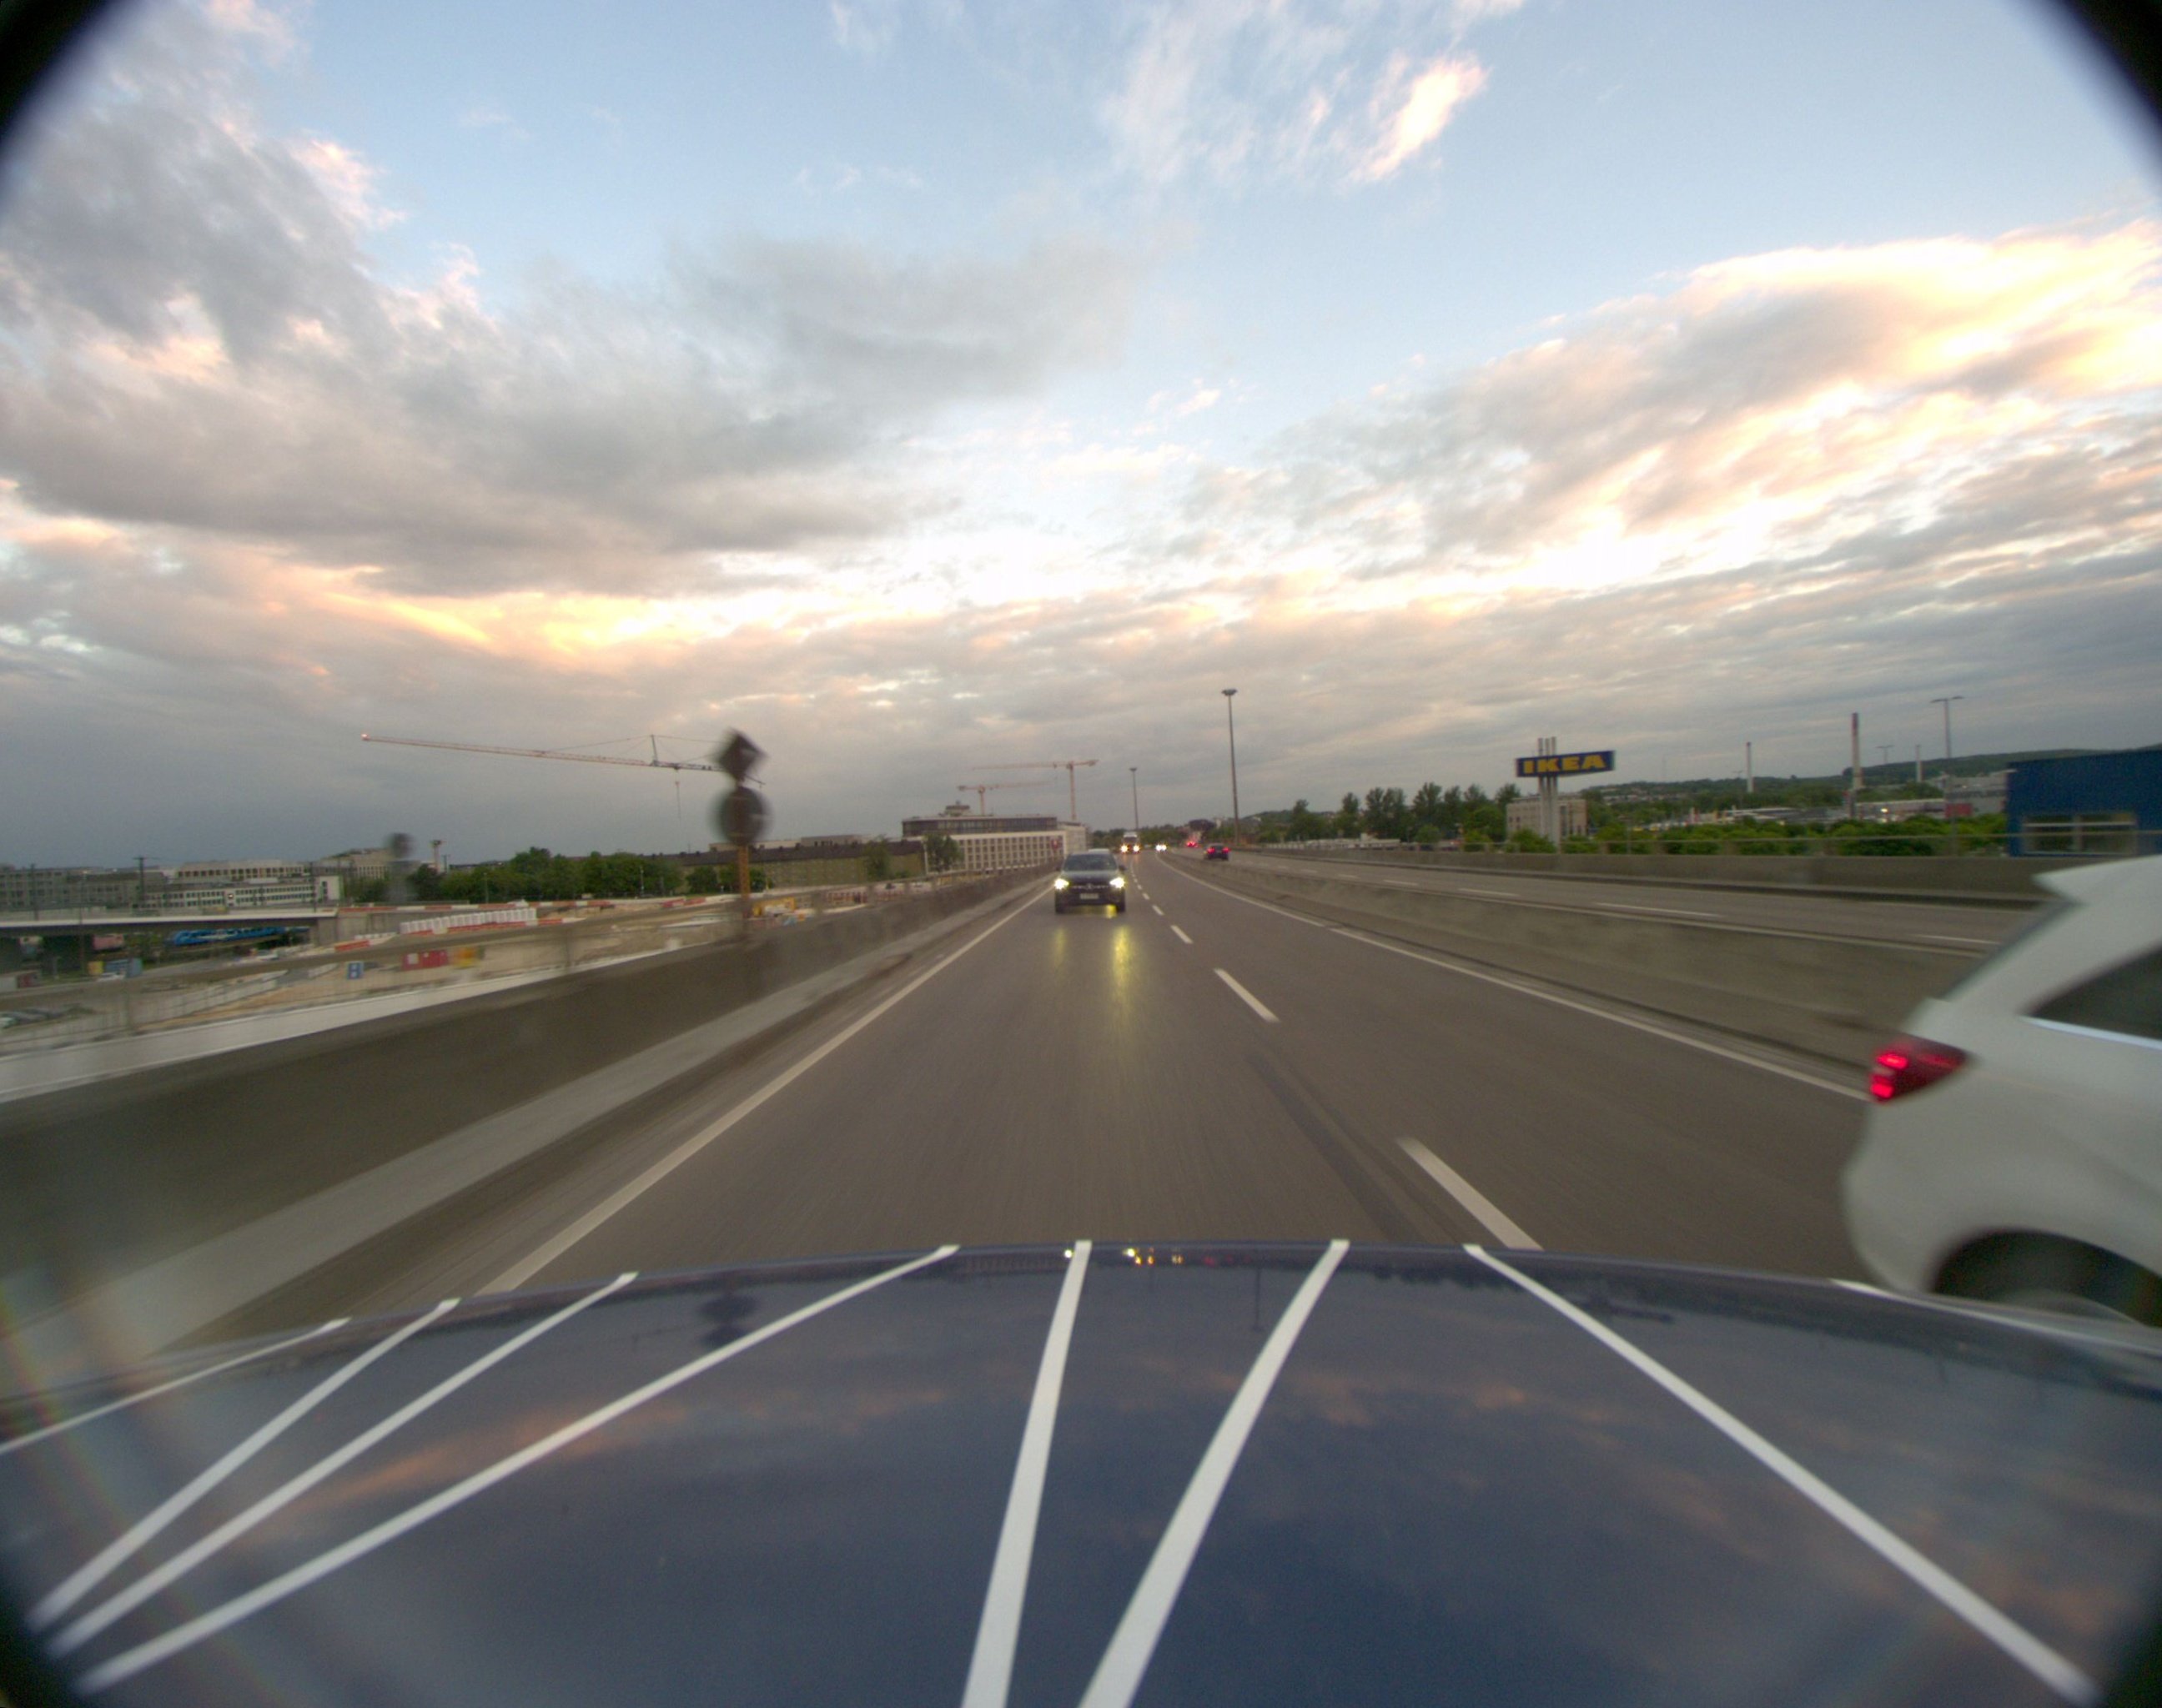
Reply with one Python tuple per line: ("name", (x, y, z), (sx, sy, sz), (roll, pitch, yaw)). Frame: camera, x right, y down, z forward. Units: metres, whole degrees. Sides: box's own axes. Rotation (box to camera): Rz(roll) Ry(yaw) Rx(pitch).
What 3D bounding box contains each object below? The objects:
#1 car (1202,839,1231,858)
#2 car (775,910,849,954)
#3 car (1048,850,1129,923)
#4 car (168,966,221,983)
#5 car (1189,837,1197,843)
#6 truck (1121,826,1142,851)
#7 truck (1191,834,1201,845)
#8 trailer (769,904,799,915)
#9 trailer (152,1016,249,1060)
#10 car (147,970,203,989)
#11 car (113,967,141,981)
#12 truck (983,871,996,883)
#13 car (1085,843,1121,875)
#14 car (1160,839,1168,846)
("car", (11.220, -0.499, 63.142), (1.833, 1.472, 4.287), (-2, 1, 3))
("car", (-11.528, 3.303, 32.816), (1.754, 1.482, 4.000), (-2, 0, -1))
("car", (0.254, 0.747, 19.564), (1.823, 1.602, 4.213), (-1, 1, 2))
("car", (-123.474, 16.760, 105.861), (4.349, 1.512, 1.867), (-6, 3, -31))
("car", (30.572, -3.809, 207.561), (1.980, 1.596, 4.443), (-2, 1, 8))
("truck", (9.181, -2.861, 138.306), (3.164, 4.369, 8.795), (-2, 1, 7))
("truck", (34.845, -4.499, 230.366), (2.539, 3.278, 7.451), (-2, 1, 11))
("trailer", (-48.852, 9.133, 125.066), (1.780, 1.234, 4.259), (-4, 0, 33))
("trailer", (-60.249, 12.542, 52.092), (1.999, 1.793, 3.843), (-9, 0, -2))
("car", (-120.994, 16.738, 101.553), (4.349, 1.512, 1.867), (-6, 3, -31))
("car", (-141.390, 17.764, 112.641), (1.440, 1.567, 3.678), (-9, 0, -36))
("truck", (-25.635, 6.452, 212.673), (2.162, 2.930, 7.338), (-5, 0, 2))
("car", (1.317, 0.294, 43.890), (1.891, 1.641, 4.345), (-2, 0, 3))
("car", (23.797, -3.389, 217.159), (1.997, 2.002, 4.002), (-1, 1, 9))
